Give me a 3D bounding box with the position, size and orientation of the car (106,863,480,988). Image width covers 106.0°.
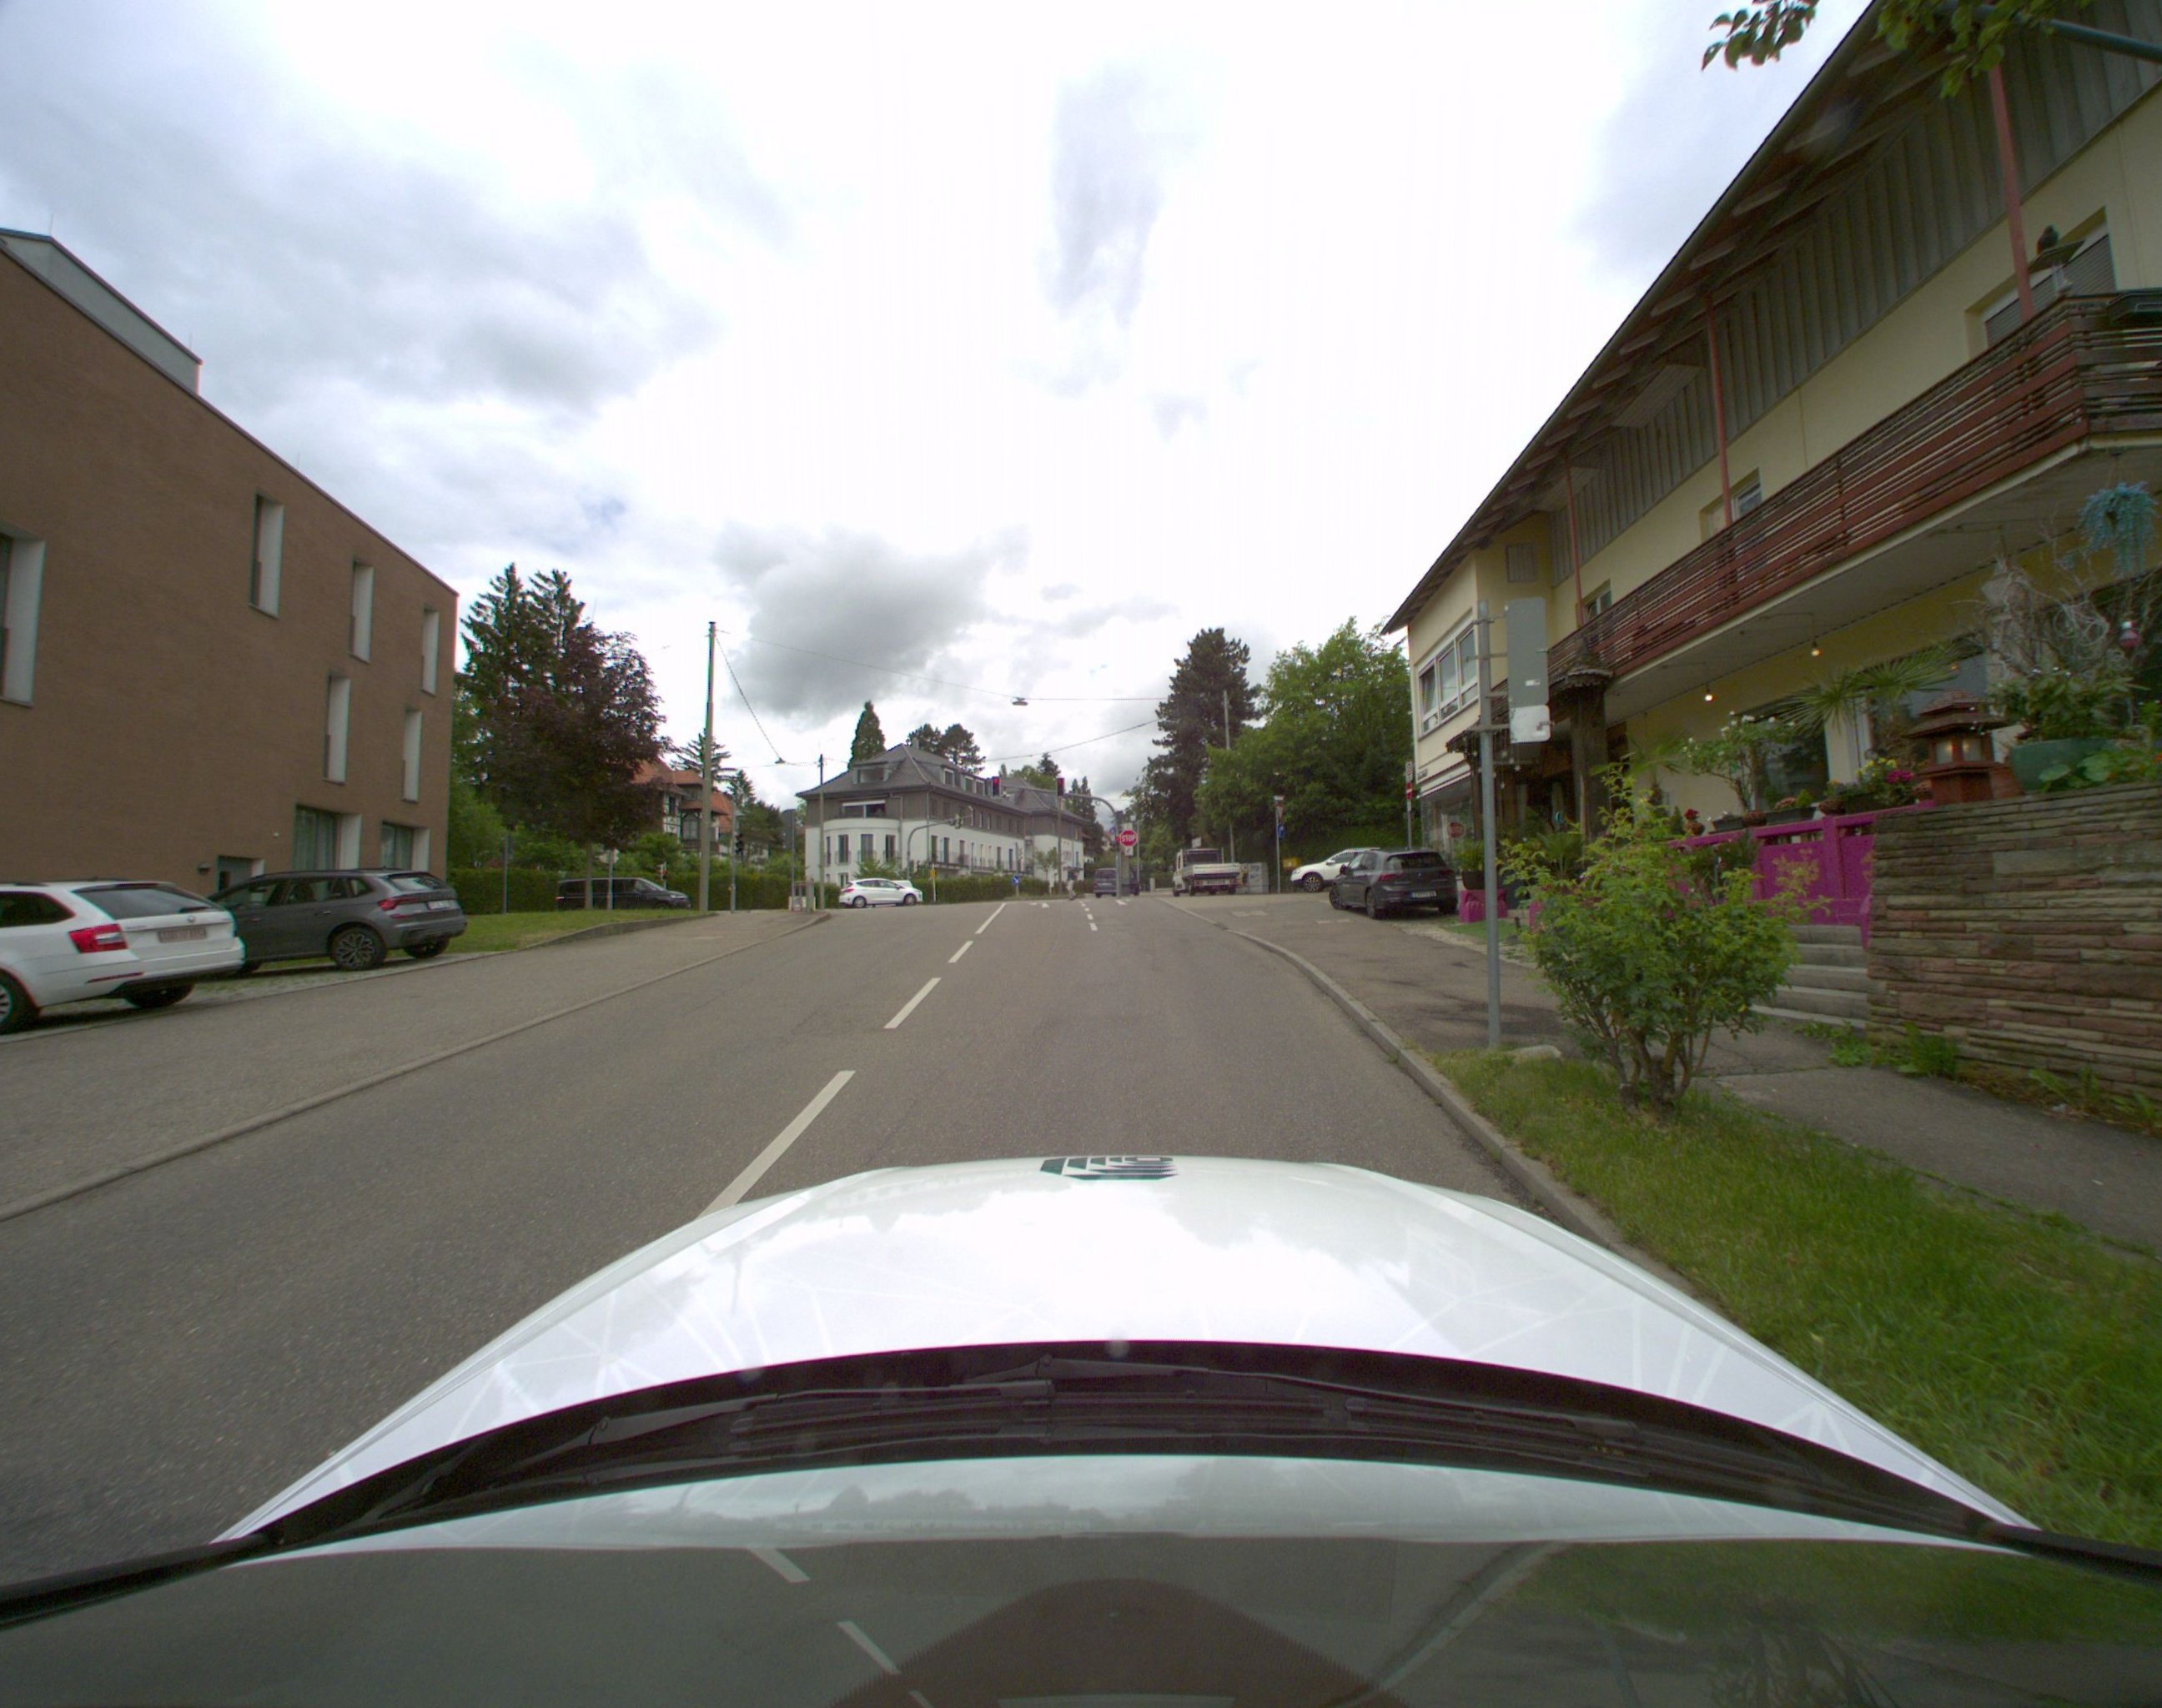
[{"bbox_3d":[-11.952,1.023,12.627,3.759,1.464,1.727,-4,1,-9],"label":"car"}]

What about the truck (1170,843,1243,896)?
[{"bbox_3d":[5.728,0.800,38.052,2.179,2.195,5.873,-1,-3,-3],"label":"truck"}]

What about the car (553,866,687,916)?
[{"bbox_3d":[-19.805,1.552,35.267,4.784,2.014,1.985,1,0,-22],"label":"car"}]

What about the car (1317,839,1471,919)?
[{"bbox_3d":[6.904,0.524,18.517,1.841,1.472,4.387,-4,-1,2],"label":"car"}]

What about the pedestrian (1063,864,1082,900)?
[{"bbox_3d":[-0.419,1.333,39.047,0.701,1.682,0.681,-1,-1,-22],"label":"pedestrian"}]

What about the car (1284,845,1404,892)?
[{"bbox_3d":[10.123,0.590,31.327,4.205,1.594,1.997,-2,-4,20],"label":"car"}]

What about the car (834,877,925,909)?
[{"bbox_3d":[-9.947,1.889,40.285,4.011,1.383,1.918,0,-1,-30],"label":"car"}]

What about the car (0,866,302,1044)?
[{"bbox_3d":[-11.348,1.041,8.506,4.254,1.623,2.010,-2,-1,-6],"label":"car"}]

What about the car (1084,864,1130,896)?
[{"bbox_3d":[1.817,1.807,55.566,1.978,2.014,4.527,-2,-4,16],"label":"car"}]

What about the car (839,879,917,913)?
[{"bbox_3d":[-12.522,2.574,50.434,1.974,1.857,4.381,-1,0,40],"label":"car"}]
